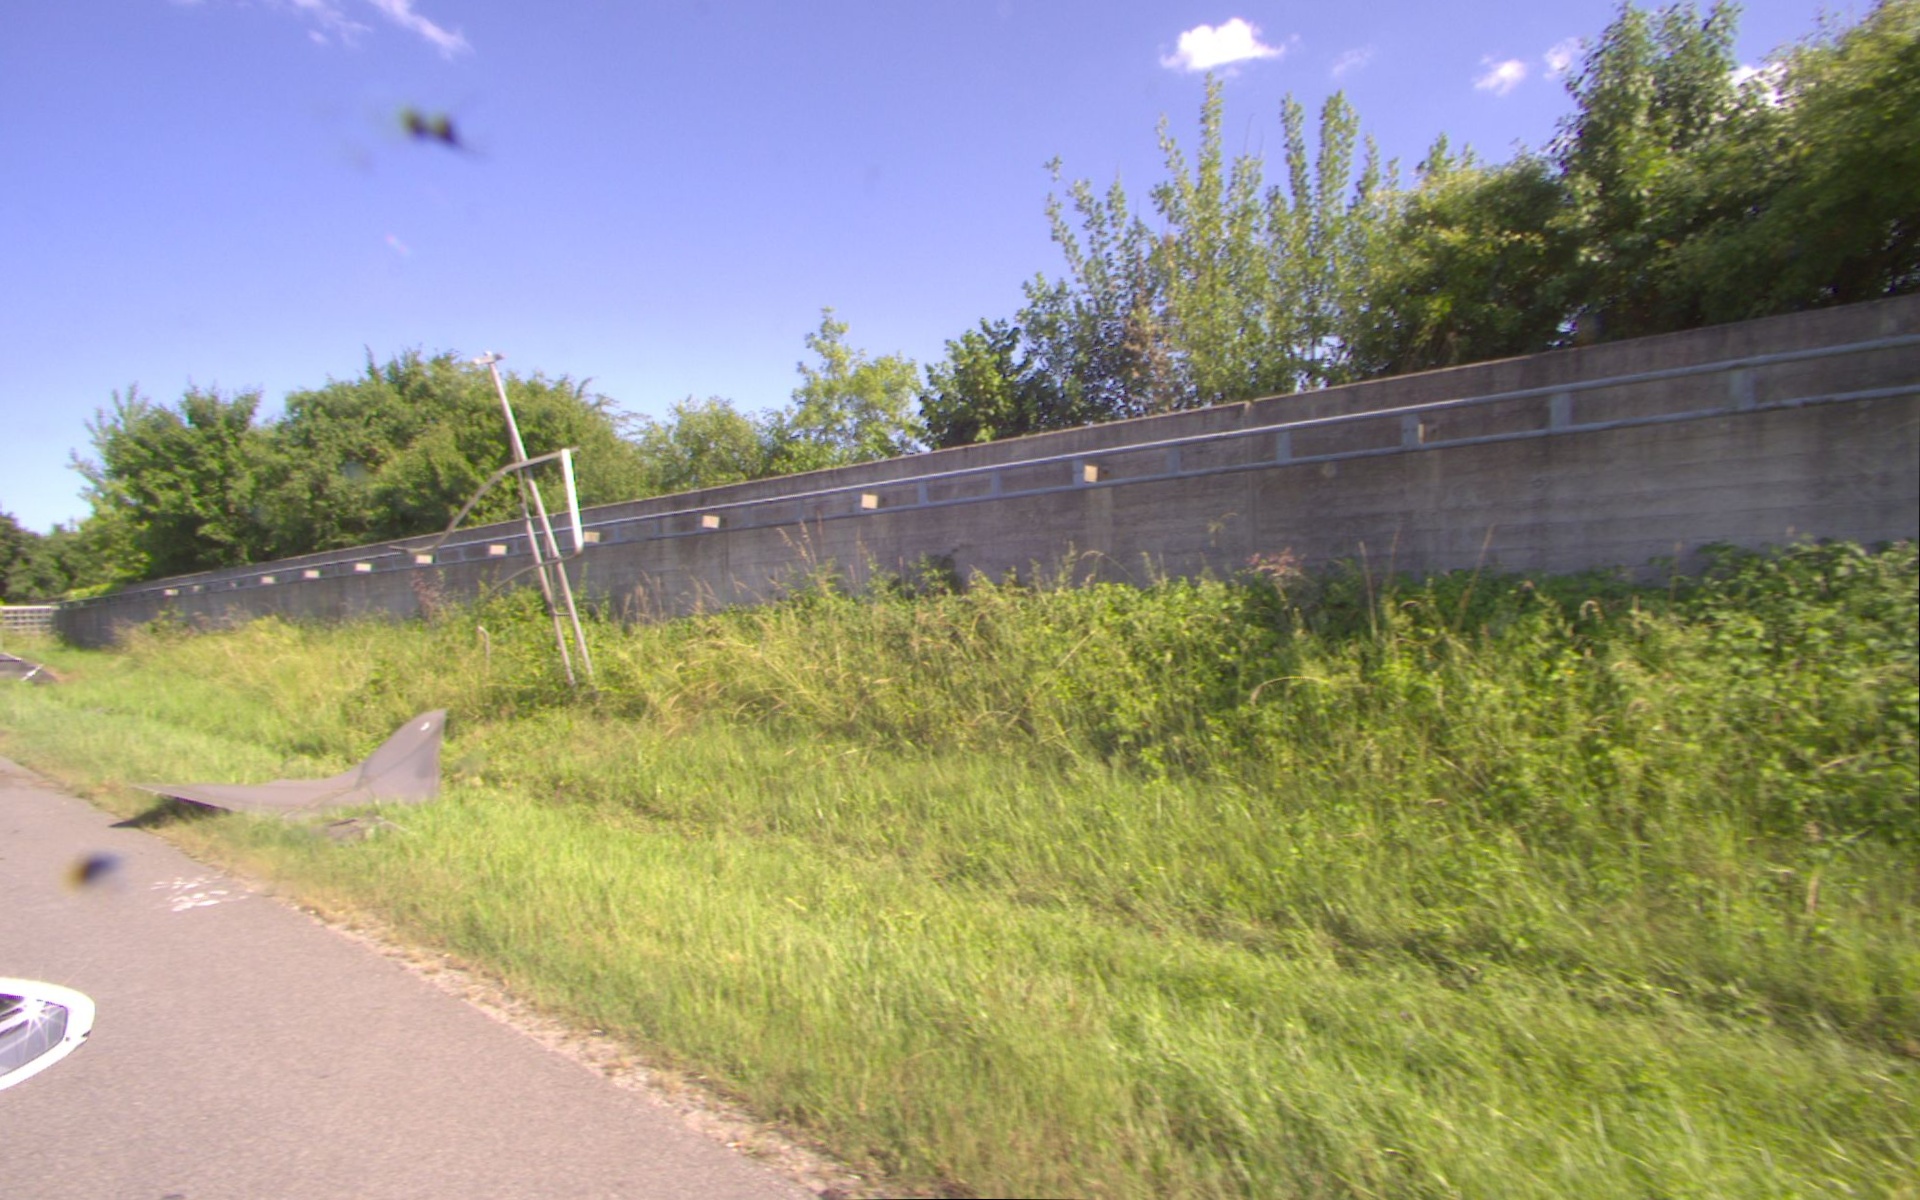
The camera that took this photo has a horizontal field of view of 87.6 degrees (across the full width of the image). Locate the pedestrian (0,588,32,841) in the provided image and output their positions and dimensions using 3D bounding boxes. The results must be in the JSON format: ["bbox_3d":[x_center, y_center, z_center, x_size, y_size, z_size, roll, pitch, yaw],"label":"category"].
[{"bbox_3d":[-6.965,0.786,6.453,0.875,1.718,1.128,-1,1,0],"label":"pedestrian"}]
